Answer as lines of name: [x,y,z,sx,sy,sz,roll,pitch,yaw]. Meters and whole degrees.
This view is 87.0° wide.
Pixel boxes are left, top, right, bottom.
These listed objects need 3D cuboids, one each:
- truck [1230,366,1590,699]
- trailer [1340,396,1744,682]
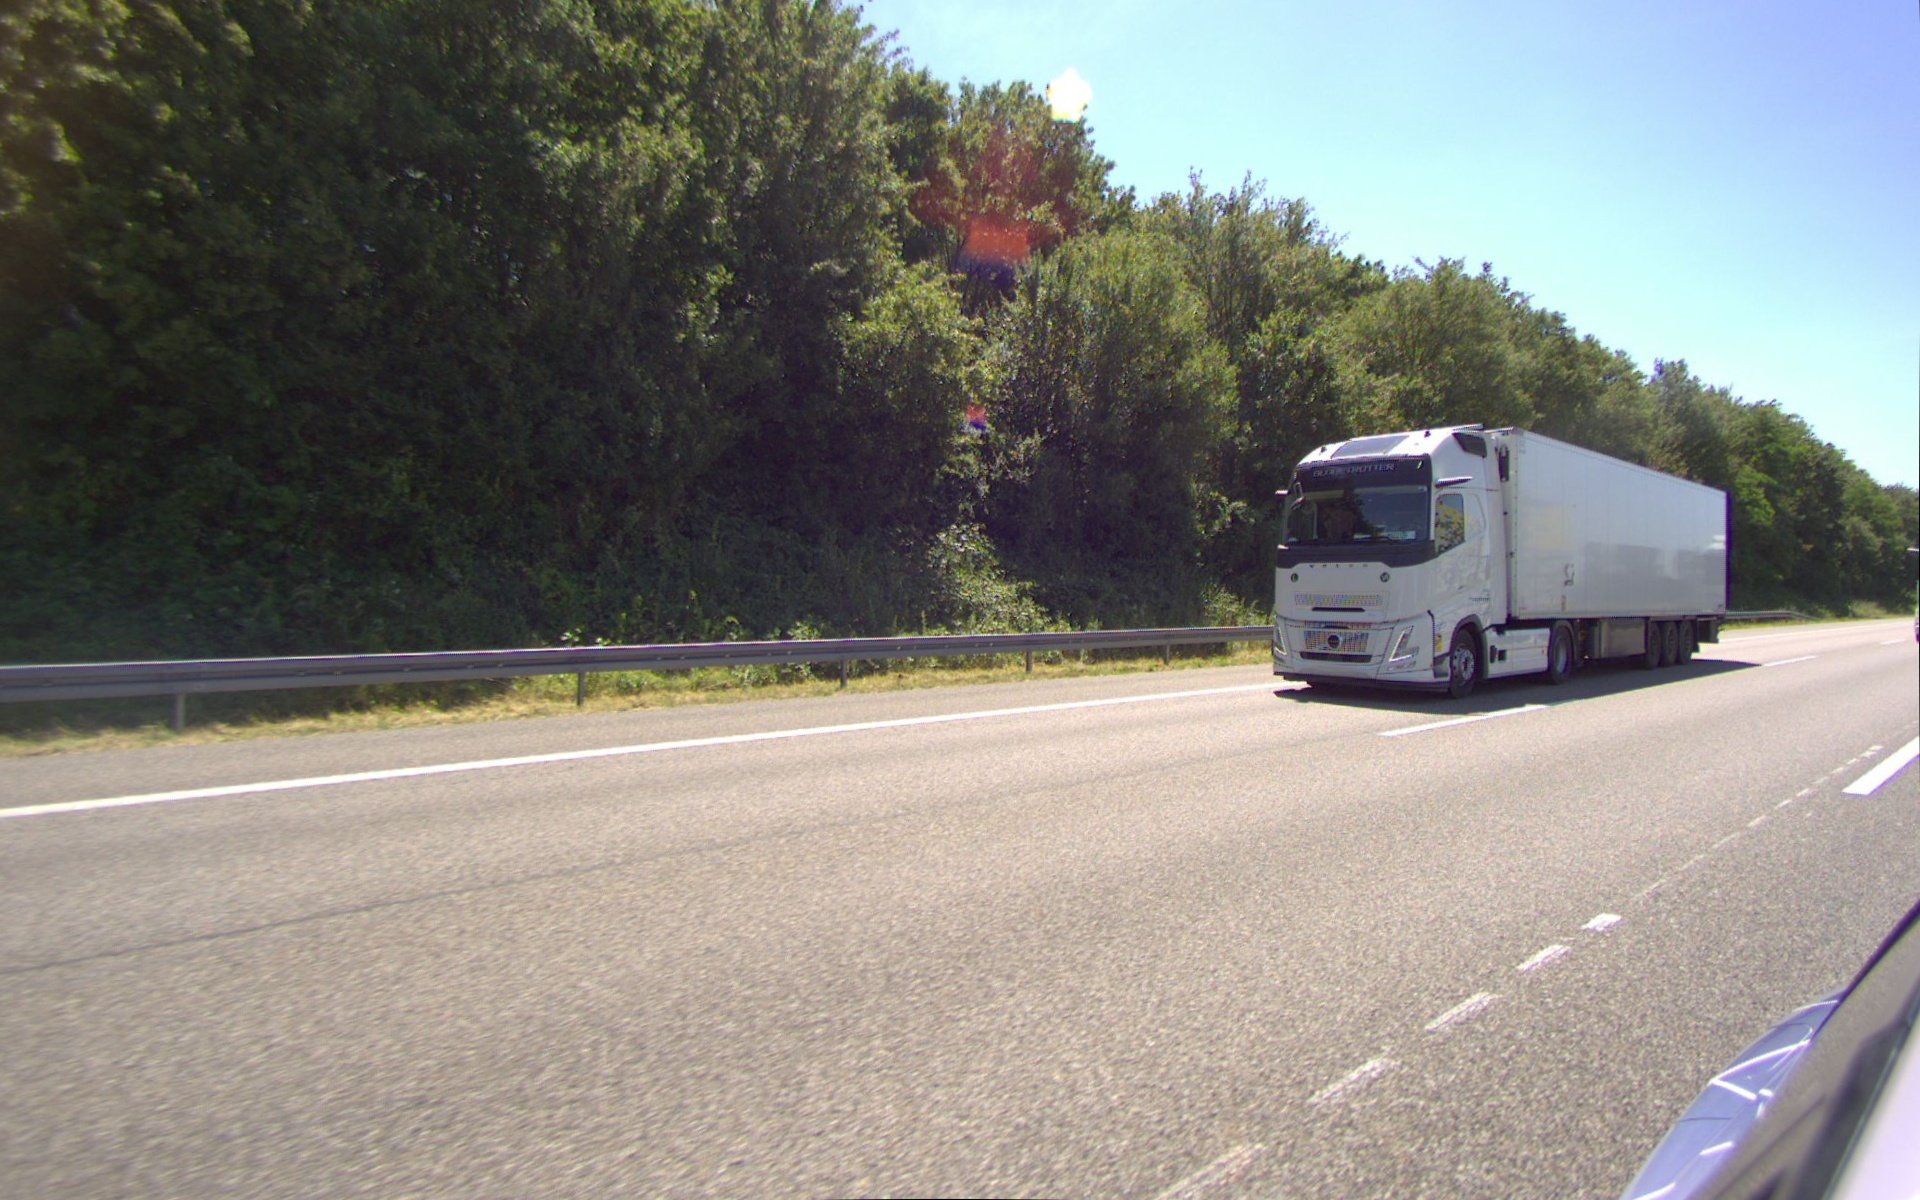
truck: [7.314,-0.892,16.113,5.943,4.268,3.052,0,0,-41]
trailer: [12.651,-0.946,20.826,13.595,4.278,3.045,0,0,-41]
